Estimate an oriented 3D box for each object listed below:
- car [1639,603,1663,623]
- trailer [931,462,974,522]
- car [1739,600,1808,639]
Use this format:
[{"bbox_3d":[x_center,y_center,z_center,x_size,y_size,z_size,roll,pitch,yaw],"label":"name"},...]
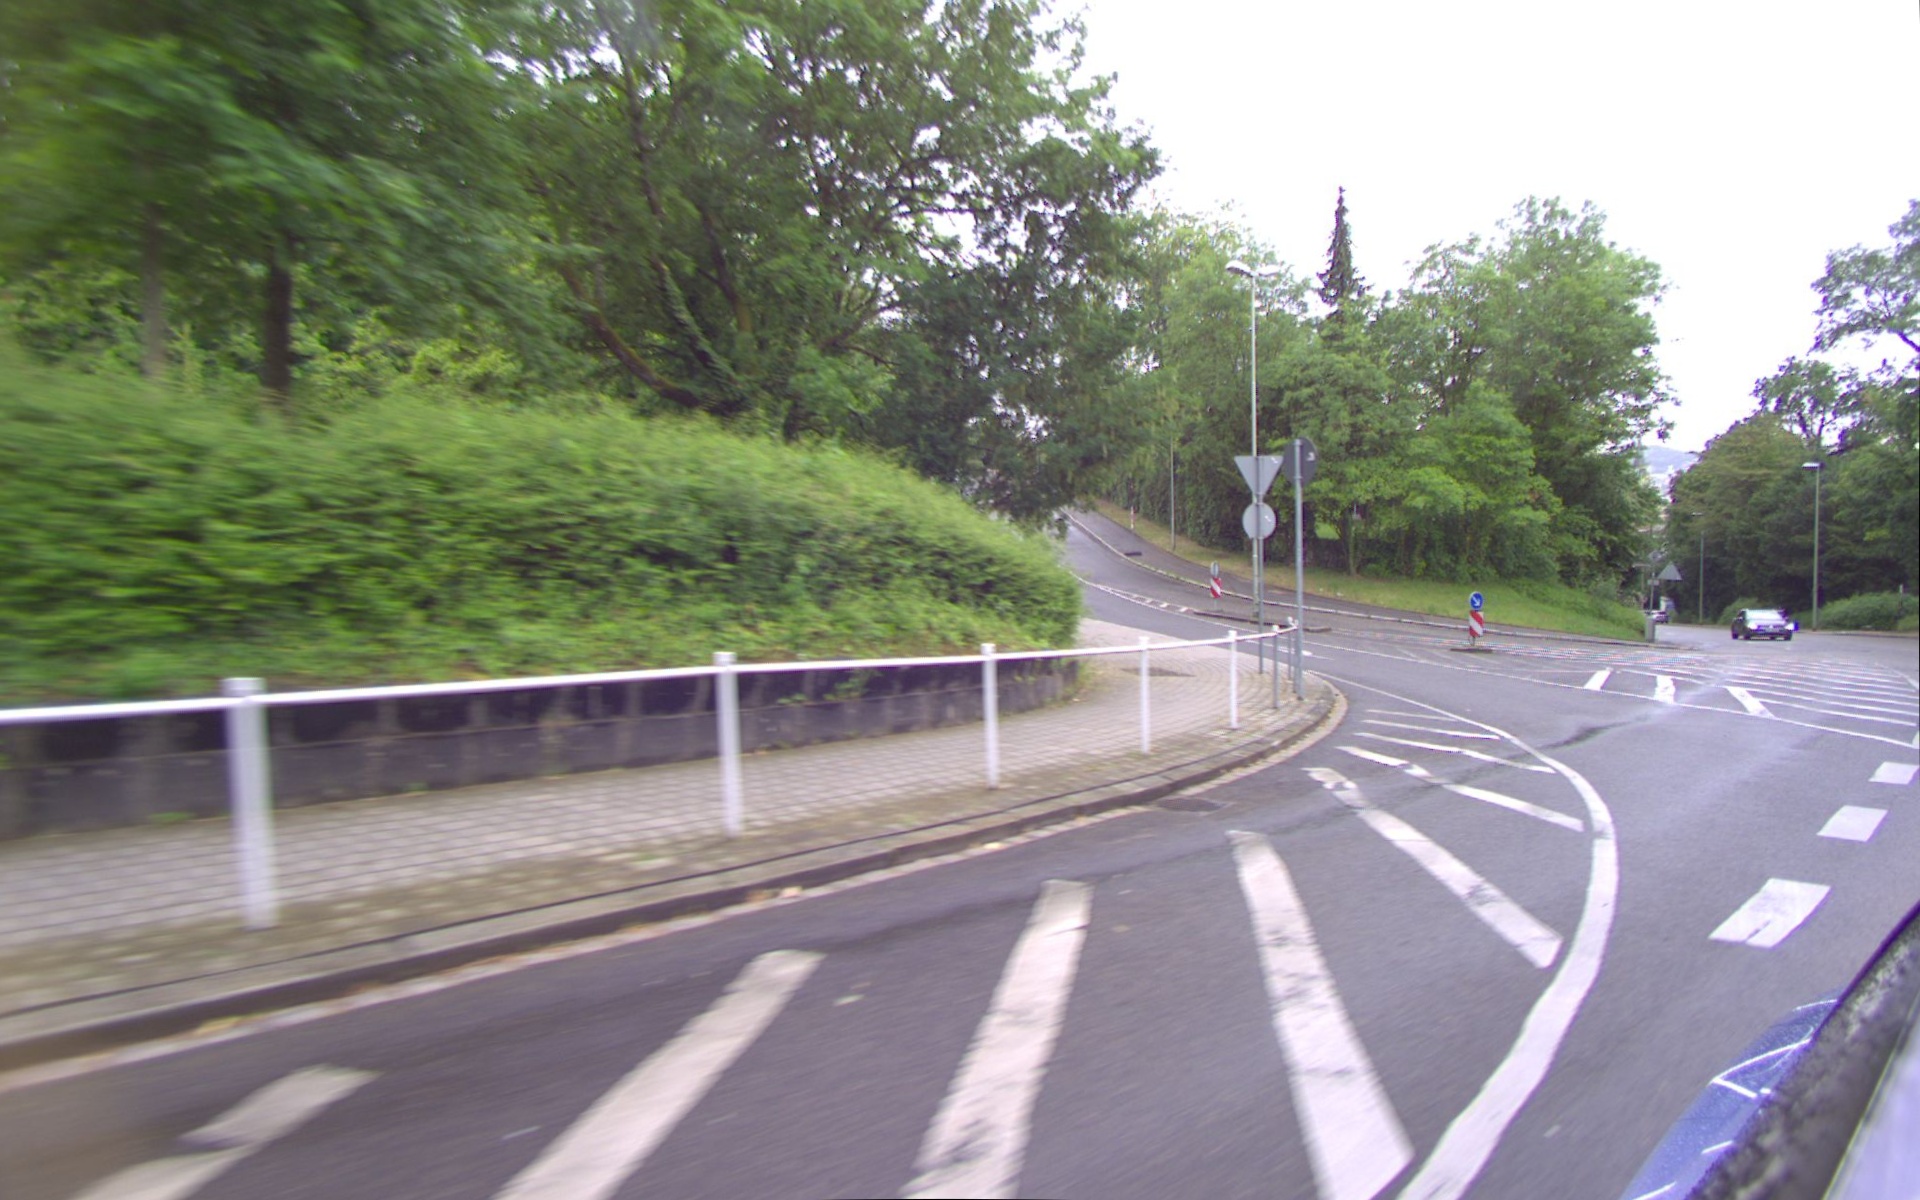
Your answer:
[{"bbox_3d":[82.429,1.537,120.743,1.983,2.284,3.958,1,0,30],"label":"car"},{"bbox_3d":[-0.449,-7.327,67.530,2.237,3.334,8.042,2,10,3],"label":"trailer"},{"bbox_3d":[38.713,0.891,48.277,2.021,1.722,3.956,1,1,31],"label":"car"}]
